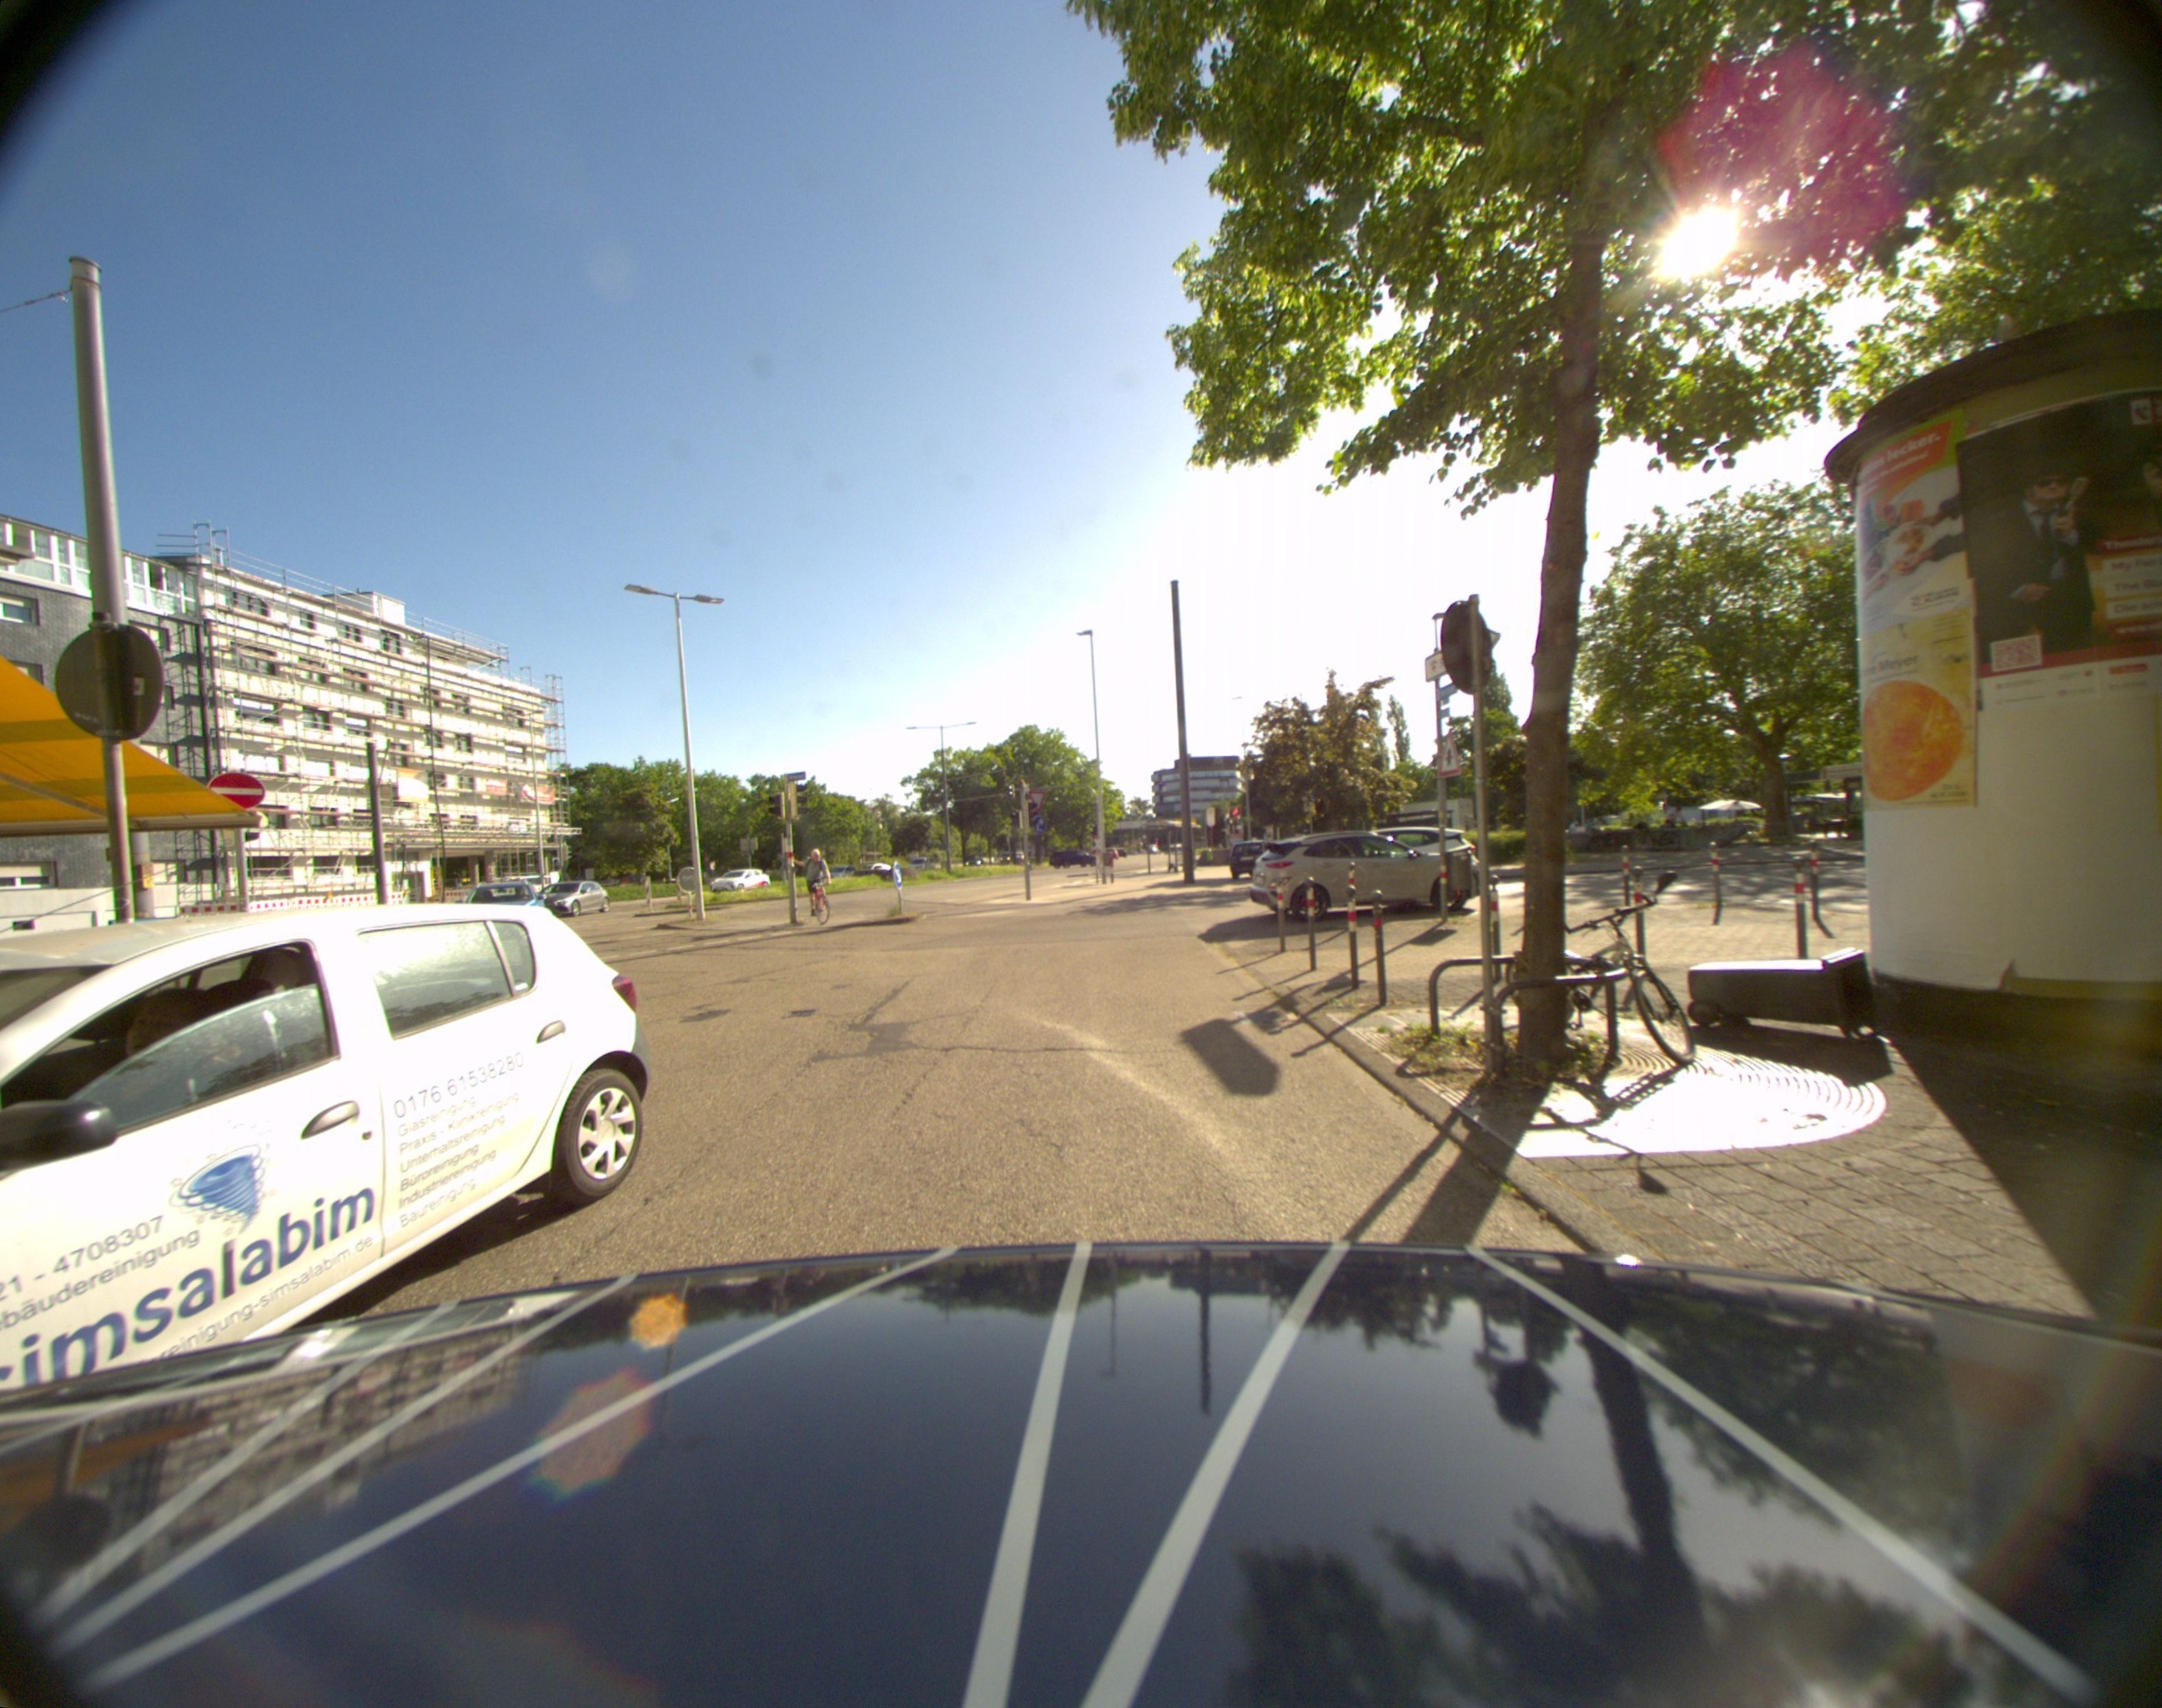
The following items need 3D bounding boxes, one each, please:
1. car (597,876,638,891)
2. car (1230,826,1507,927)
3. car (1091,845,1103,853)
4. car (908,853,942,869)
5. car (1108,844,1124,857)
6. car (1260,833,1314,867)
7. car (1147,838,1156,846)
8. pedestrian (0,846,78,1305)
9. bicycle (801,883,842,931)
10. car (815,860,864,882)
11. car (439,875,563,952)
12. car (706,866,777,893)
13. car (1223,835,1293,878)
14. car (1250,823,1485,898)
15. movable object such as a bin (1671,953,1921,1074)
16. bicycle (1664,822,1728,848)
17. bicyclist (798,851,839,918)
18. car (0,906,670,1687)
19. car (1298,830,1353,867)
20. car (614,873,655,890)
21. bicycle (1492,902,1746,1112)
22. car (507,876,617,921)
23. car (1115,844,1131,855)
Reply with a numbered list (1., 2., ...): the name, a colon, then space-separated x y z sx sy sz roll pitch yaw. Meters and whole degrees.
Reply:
1. car: -49.396 3.136 81.009 1.820 1.386 3.685 -3 1 4
2. car: 5.306 0.389 14.424 4.482 1.543 1.905 -3 1 -3
3. car: 3.491 -1.157 167.984 1.999 1.652 4.483 -3 1 -4
4. car: -16.157 0.709 78.872 1.871 1.447 4.487 -3 1 10
5. car: 4.497 -0.453 97.553 1.998 1.543 4.485 -3 1 3
6. car: 10.302 -0.225 37.785 1.680 1.499 3.602 -3 1 30
7. car: 18.440 -3.052 199.035 1.998 2.002 4.000 -3 1 3
8. pedestrian: -4.470 0.848 2.688 0.760 1.712 0.745 -3 1 7
9. bicycle: -6.261 1.237 18.250 0.830 0.981 1.943 -3 1 -20
10. car: -19.559 1.352 61.746 1.871 1.447 4.487 -3 1 10
11. car: -16.069 1.551 21.309 1.876 1.765 4.475 -4 1 -27
12. car: -21.493 1.595 48.352 1.871 1.447 4.487 -3 1 10
13. car: 7.225 0.071 30.801 1.680 1.499 3.602 -5 0 30
14. car: 6.858 0.181 18.298 5.024 1.510 1.927 -3 1 28
15. movable object such as a bin: 4.894 1.060 5.279 0.578 0.562 1.112 -4 1 -19
16. bicycle: 24.174 -0.732 29.919 0.557 0.977 2.312 -3 1 -3
17. bicyclist: -6.320 0.719 18.312 0.828 1.555 0.595 -3 1 -20
18. car: -3.208 1.093 2.108 1.723 1.489 4.023 -3 1 2
19. car: 11.747 -0.289 36.297 1.795 1.571 4.006 -2 1 27
20. car: -47.203 2.919 80.406 1.820 1.574 3.685 -3 1 4
21. bicycle: 3.499 0.919 5.119 0.354 1.066 1.591 -4 1 -9
22. car: -21.170 1.760 31.224 1.874 1.447 4.481 -3 1 -8
23. car: 6.312 -0.711 114.344 1.999 1.543 4.484 -3 1 -1
